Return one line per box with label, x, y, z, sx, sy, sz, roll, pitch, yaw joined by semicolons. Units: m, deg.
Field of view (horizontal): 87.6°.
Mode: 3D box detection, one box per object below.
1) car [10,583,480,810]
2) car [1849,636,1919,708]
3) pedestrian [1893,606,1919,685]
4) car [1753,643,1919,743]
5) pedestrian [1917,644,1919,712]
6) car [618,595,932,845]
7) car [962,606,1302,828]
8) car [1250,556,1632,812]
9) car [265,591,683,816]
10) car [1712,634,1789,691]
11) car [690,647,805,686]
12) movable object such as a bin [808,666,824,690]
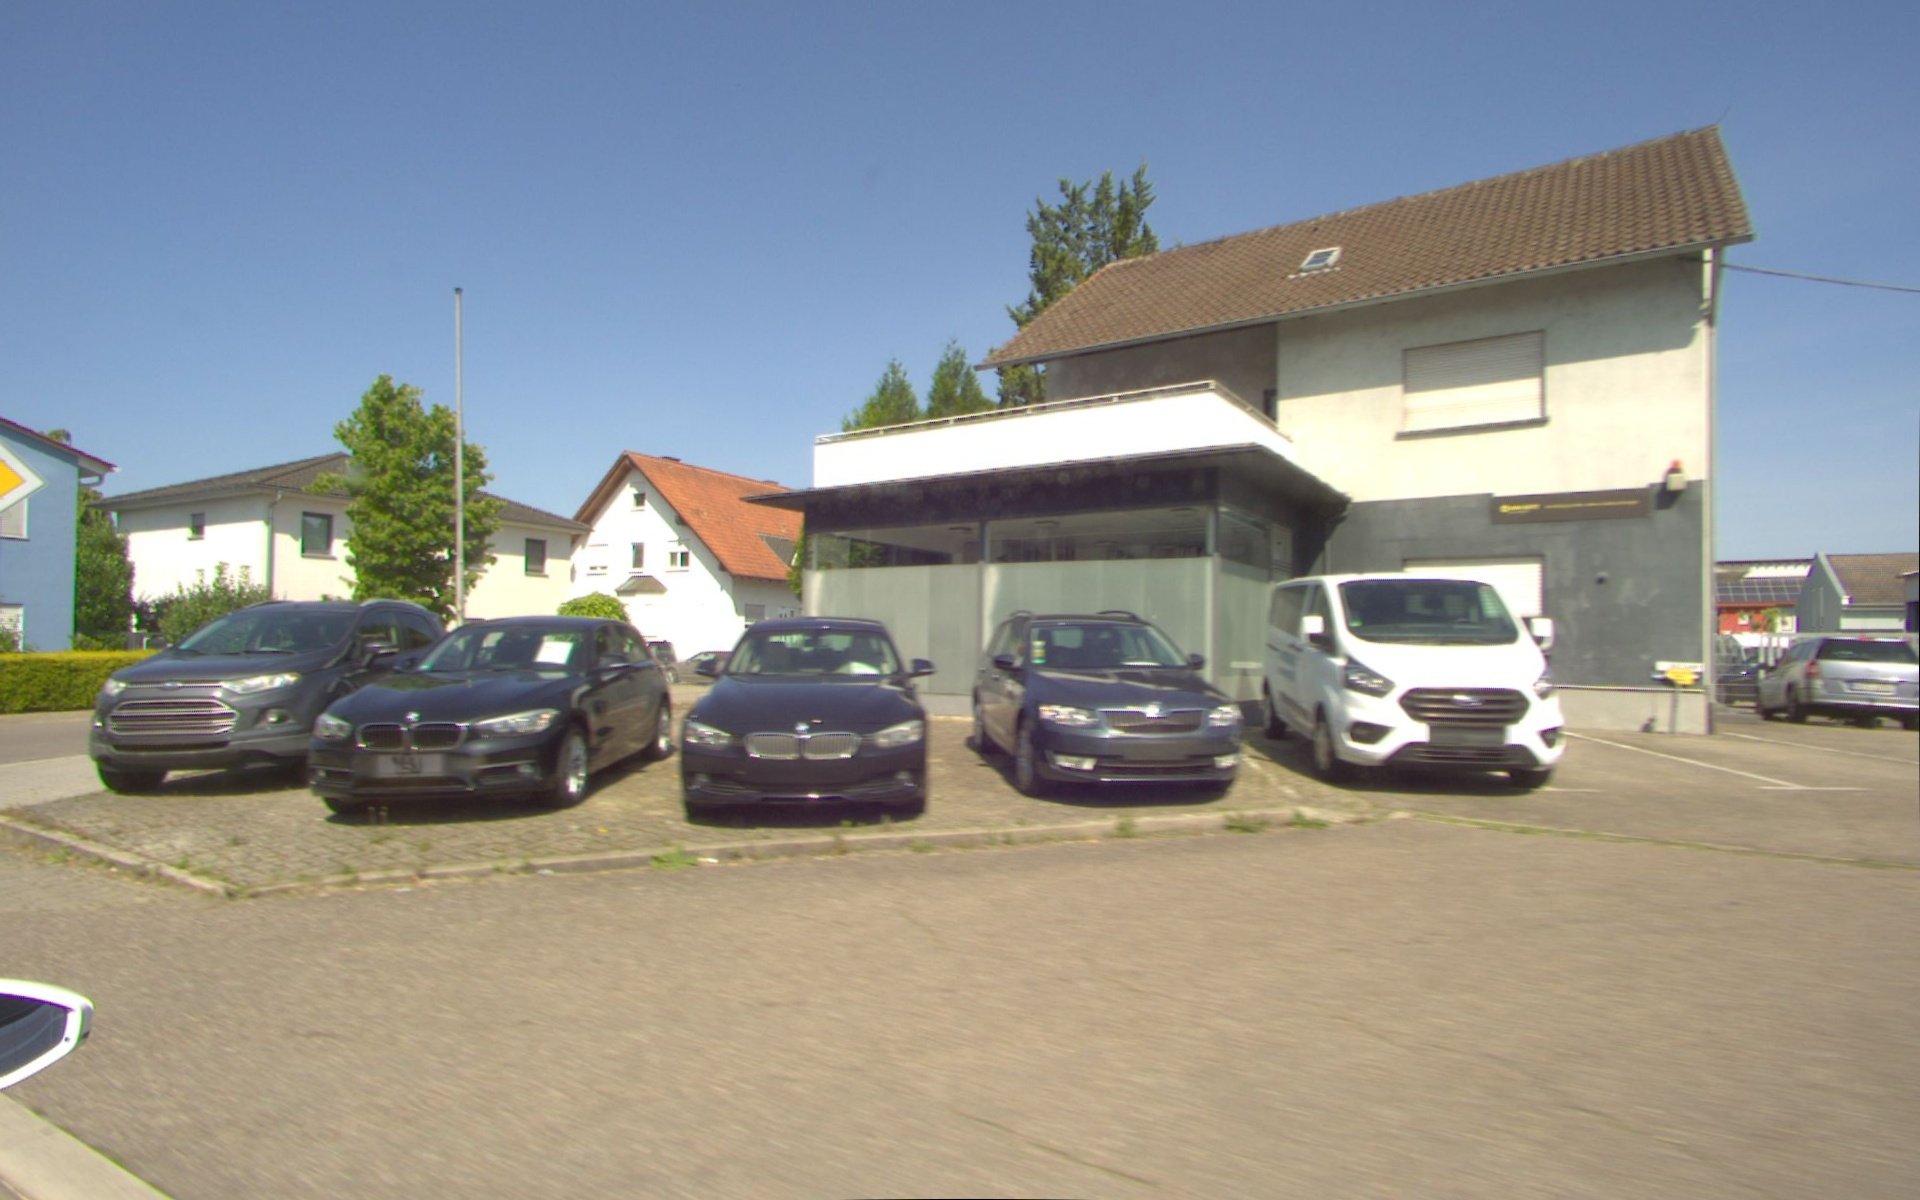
car;-6.306;0.787;9.536;1.796;1.674;4.115;1;-2;-5
car;27.718;2.007;28.764;1.903;1.928;5.170;-1;-2;26
pedestrian;23.150;1.099;24.284;0.599;1.889;0.503;0;-1;18
car;15.065;1.517;17.125;1.785;1.498;4.058;-1;-3;30
pedestrian;25.322;2.028;25.869;0.635;1.769;0.650;0;-1;19
car;-1.241;0.827;8.534;1.946;1.586;4.240;1;-1;-1
car;1.271;0.906;9.371;1.946;1.570;4.317;1;-2;-7
car;4.645;0.755;10.770;2.189;2.039;5.287;0;-2;8
car;-3.707;0.740;8.491;1.717;1.465;3.875;0;-2;-1
car;40.156;3.101;51.012;1.992;2.735;5.176;-1;-2;26
car;-8.270;2.560;38.839;4.321;1.447;1.692;-1;-3;29
movable object such as a bin;-5.903;3.199;40.999;0.456;0.991;0.386;-1;-4;32
